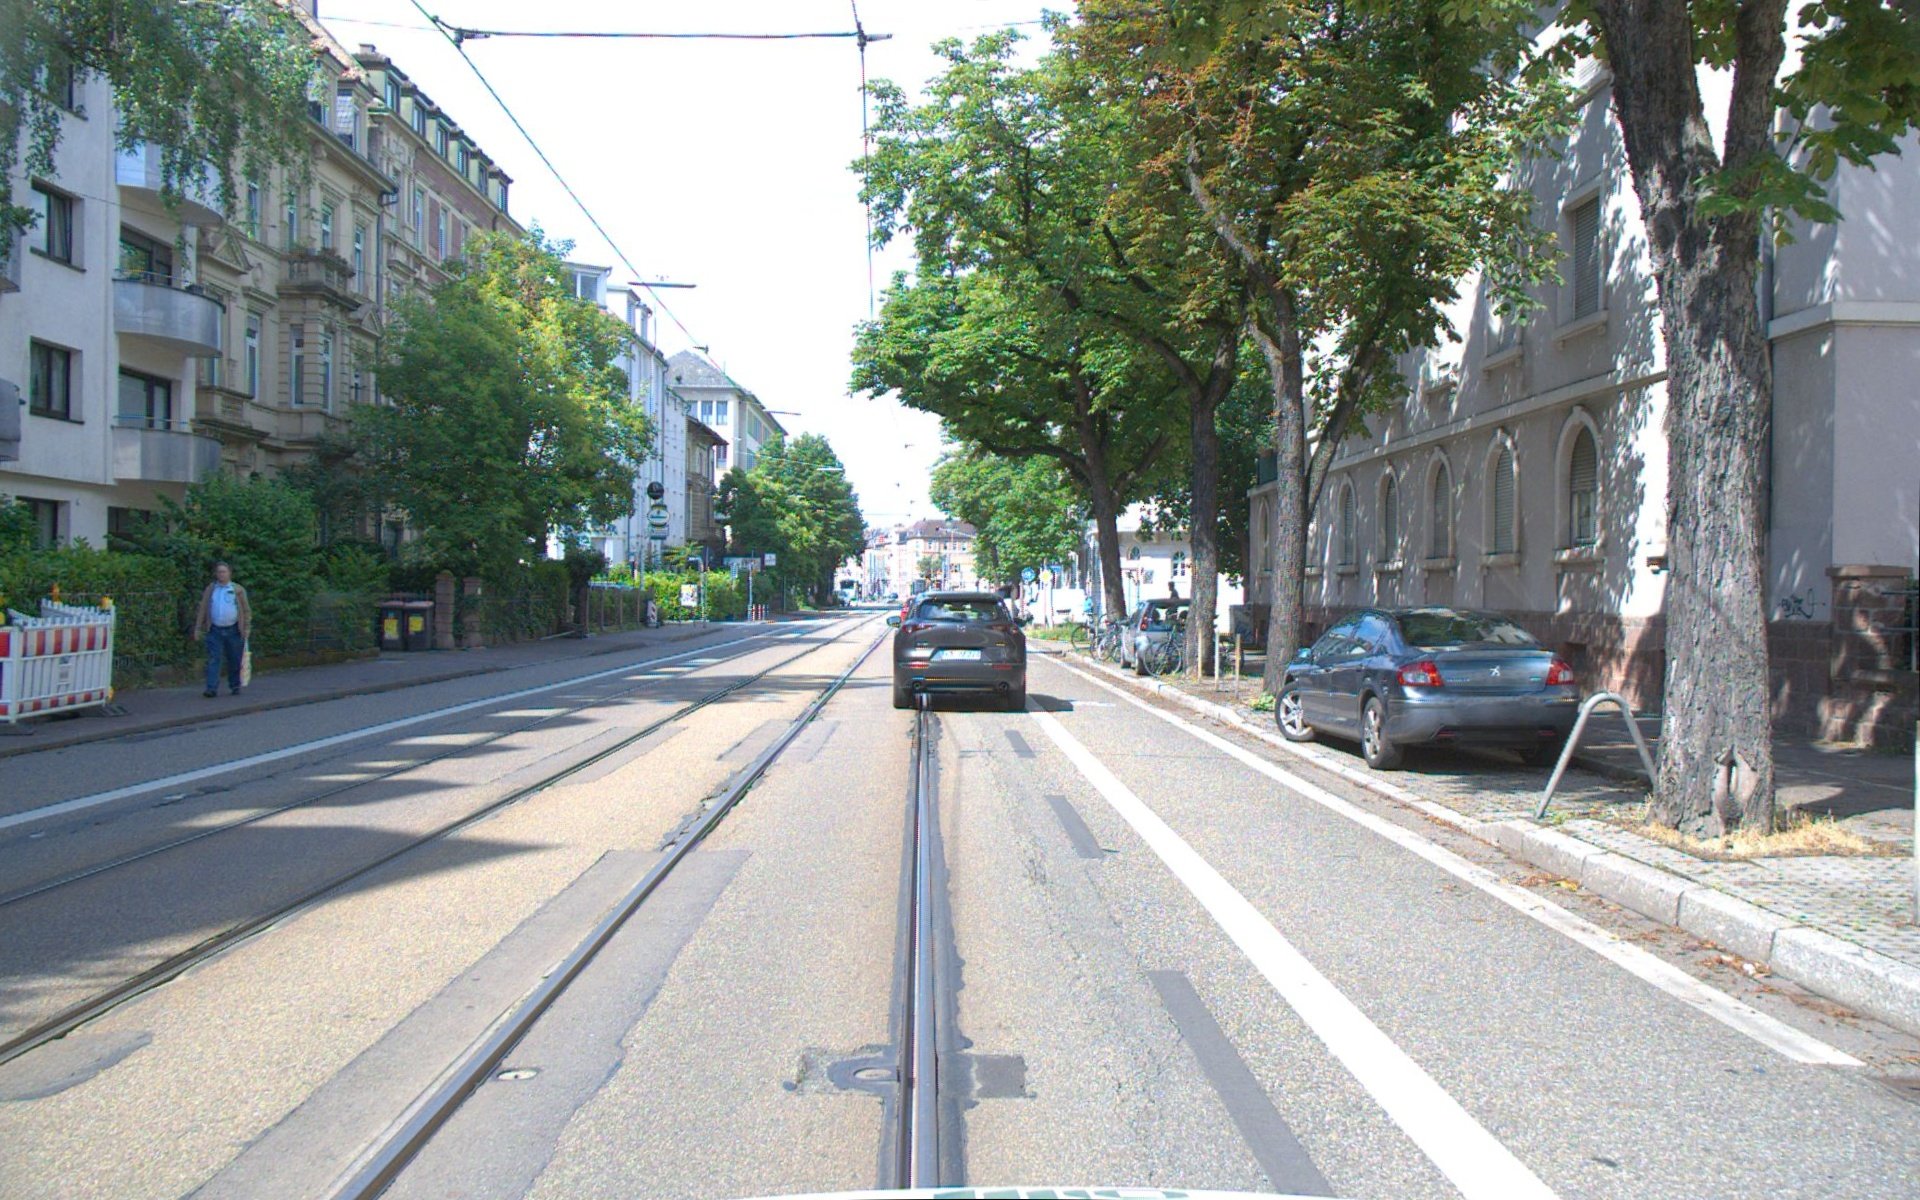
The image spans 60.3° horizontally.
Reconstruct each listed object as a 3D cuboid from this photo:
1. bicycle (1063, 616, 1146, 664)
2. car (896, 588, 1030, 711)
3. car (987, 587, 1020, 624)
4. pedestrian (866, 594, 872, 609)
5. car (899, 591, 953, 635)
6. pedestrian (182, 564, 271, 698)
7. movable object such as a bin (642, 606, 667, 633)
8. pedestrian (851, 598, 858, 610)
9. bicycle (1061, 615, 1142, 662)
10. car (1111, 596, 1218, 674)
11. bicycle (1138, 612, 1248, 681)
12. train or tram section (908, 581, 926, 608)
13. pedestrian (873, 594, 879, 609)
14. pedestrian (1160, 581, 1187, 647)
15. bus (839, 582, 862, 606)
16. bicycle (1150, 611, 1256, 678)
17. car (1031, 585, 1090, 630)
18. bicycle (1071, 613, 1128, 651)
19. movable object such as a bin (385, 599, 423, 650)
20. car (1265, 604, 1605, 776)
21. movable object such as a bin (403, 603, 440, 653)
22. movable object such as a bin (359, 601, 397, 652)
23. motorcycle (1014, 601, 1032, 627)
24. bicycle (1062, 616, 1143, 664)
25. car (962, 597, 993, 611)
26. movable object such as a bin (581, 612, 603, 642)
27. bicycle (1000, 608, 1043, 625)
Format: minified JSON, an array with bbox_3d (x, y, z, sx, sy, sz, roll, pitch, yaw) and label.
[{"bbox_3d":[3.340,0.926,38.326,1.865,1.091,0.402,1,0,-1],"label":"bicycle"},{"bbox_3d":[-0.016,0.630,22.784,1.686,1.553,3.588,0,0,-2],"label":"car"},{"bbox_3d":[2.397,0.281,92.540,1.685,2.003,4.206,0,0,-1],"label":"car"},{"bbox_3d":[-12.671,0.179,229.929,0.867,2.049,0.617,0,0,-5],"label":"pedestrian"},{"bbox_3d":[-1.332,0.495,64.076,1.953,1.555,3.999,3,0,-2],"label":"car"},{"bbox_3d":[-9.720,0.398,21.939,0.806,1.736,0.890,0,0,-5],"label":"pedestrian"},{"bbox_3d":[-11.744,0.756,63.591,0.730,1.005,1.114,3,0,-2],"label":"movable object such as a bin"},{"bbox_3d":[-13.114,0.465,205.538,0.736,1.537,0.823,0,0,-6],"label":"pedestrian"},{"bbox_3d":[3.348,0.914,39.221,1.865,1.091,0.402,1,0,-1],"label":"bicycle"},{"bbox_3d":[4.127,0.674,33.849,1.632,1.455,3.765,-2,0,-1],"label":"car"},{"bbox_3d":[4.141,0.830,29.351,1.895,1.196,0.513,-1,-1,10],"label":"bicycle"},{"bbox_3d":[-6.387,-0.806,248.637,2.519,3.838,13.023,0,0,-1],"label":"train or tram section"},{"bbox_3d":[-11.670,0.197,230.075,0.867,2.049,0.617,0,0,-5],"label":"pedestrian"},{"bbox_3d":[6.056,0.406,46.918,0.598,1.868,0.878,0,-2,-4],"label":"pedestrian"},{"bbox_3d":[-16.683,-0.928,251.581,2.637,3.481,11.000,3,0,-7],"label":"bus"},{"bbox_3d":[4.395,0.807,29.888,1.853,1.196,0.513,-1,-1,10],"label":"bicycle"},{"bbox_3d":[4.538,0.323,75.176,1.753,1.972,4.983,0,0,-7],"label":"car"},{"bbox_3d":[3.657,0.831,43.405,1.460,1.000,0.259,0,-1,0],"label":"bicycle"},{"bbox_3d":[-12.524,0.543,37.253,0.538,1.127,0.790,0,0,3],"label":"movable object such as a bin"},{"bbox_3d":[4.515,0.775,16.474,1.810,1.434,4.391,-1,0,-4],"label":"car"},{"bbox_3d":[-12.075,0.627,37.076,0.526,1.113,0.790,0,0,3],"label":"movable object such as a bin"},{"bbox_3d":[-13.087,0.579,37.197,0.538,1.127,0.790,0,0,3],"label":"movable object such as a bin"},{"bbox_3d":[3.274,0.712,85.682,0.778,1.293,2.421,0,0,-2],"label":"motorcycle"},{"bbox_3d":[3.337,0.934,38.807,1.865,1.091,0.402,1,0,-1],"label":"bicycle"},{"bbox_3d":[2.330,0.554,217.531,3.749,1.646,1.628,3,0,-20],"label":"car"},{"bbox_3d":[-11.327,0.831,50.928,0.551,0.891,0.616,1,0,-1],"label":"movable object such as a bin"},{"bbox_3d":[3.302,0.875,88.656,2.229,0.876,0.671,1,0,-3],"label":"bicycle"}]
